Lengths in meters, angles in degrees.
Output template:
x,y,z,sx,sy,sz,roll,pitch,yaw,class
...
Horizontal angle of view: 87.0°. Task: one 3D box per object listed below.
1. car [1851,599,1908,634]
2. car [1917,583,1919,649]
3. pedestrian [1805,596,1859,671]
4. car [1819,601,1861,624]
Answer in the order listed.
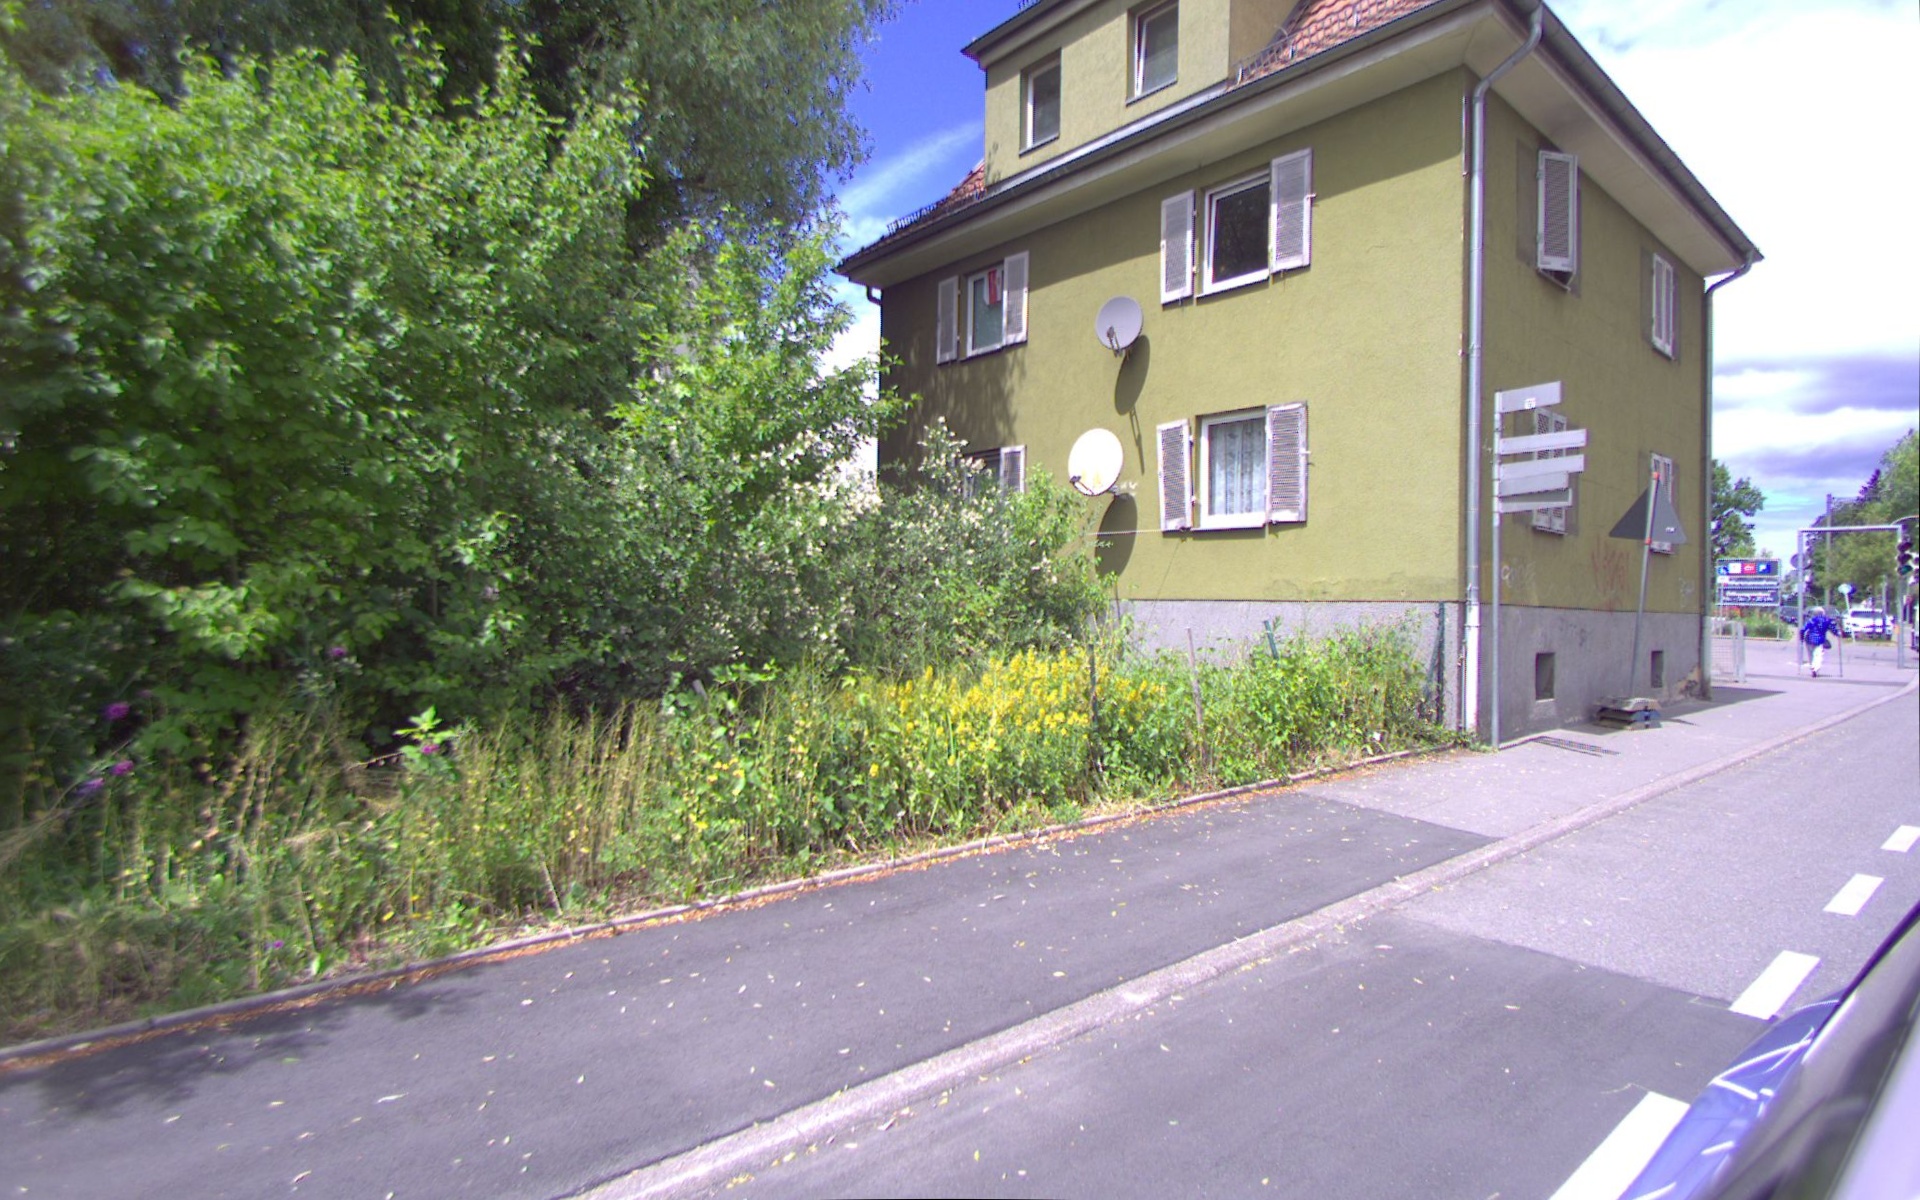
x,y,z,sx,sy,sz,roll,pitch,yaw,class
44.860,0.762,49.433,1.788,1.549,3.864,3,2,40,car
31.698,0.553,29.348,5.287,2.049,1.986,1,1,21,car
19.177,0.711,22.259,0.824,1.592,0.972,2,1,44,pedestrian
62.216,0.886,71.607,1.694,1.551,3.952,-1,-1,34,car
